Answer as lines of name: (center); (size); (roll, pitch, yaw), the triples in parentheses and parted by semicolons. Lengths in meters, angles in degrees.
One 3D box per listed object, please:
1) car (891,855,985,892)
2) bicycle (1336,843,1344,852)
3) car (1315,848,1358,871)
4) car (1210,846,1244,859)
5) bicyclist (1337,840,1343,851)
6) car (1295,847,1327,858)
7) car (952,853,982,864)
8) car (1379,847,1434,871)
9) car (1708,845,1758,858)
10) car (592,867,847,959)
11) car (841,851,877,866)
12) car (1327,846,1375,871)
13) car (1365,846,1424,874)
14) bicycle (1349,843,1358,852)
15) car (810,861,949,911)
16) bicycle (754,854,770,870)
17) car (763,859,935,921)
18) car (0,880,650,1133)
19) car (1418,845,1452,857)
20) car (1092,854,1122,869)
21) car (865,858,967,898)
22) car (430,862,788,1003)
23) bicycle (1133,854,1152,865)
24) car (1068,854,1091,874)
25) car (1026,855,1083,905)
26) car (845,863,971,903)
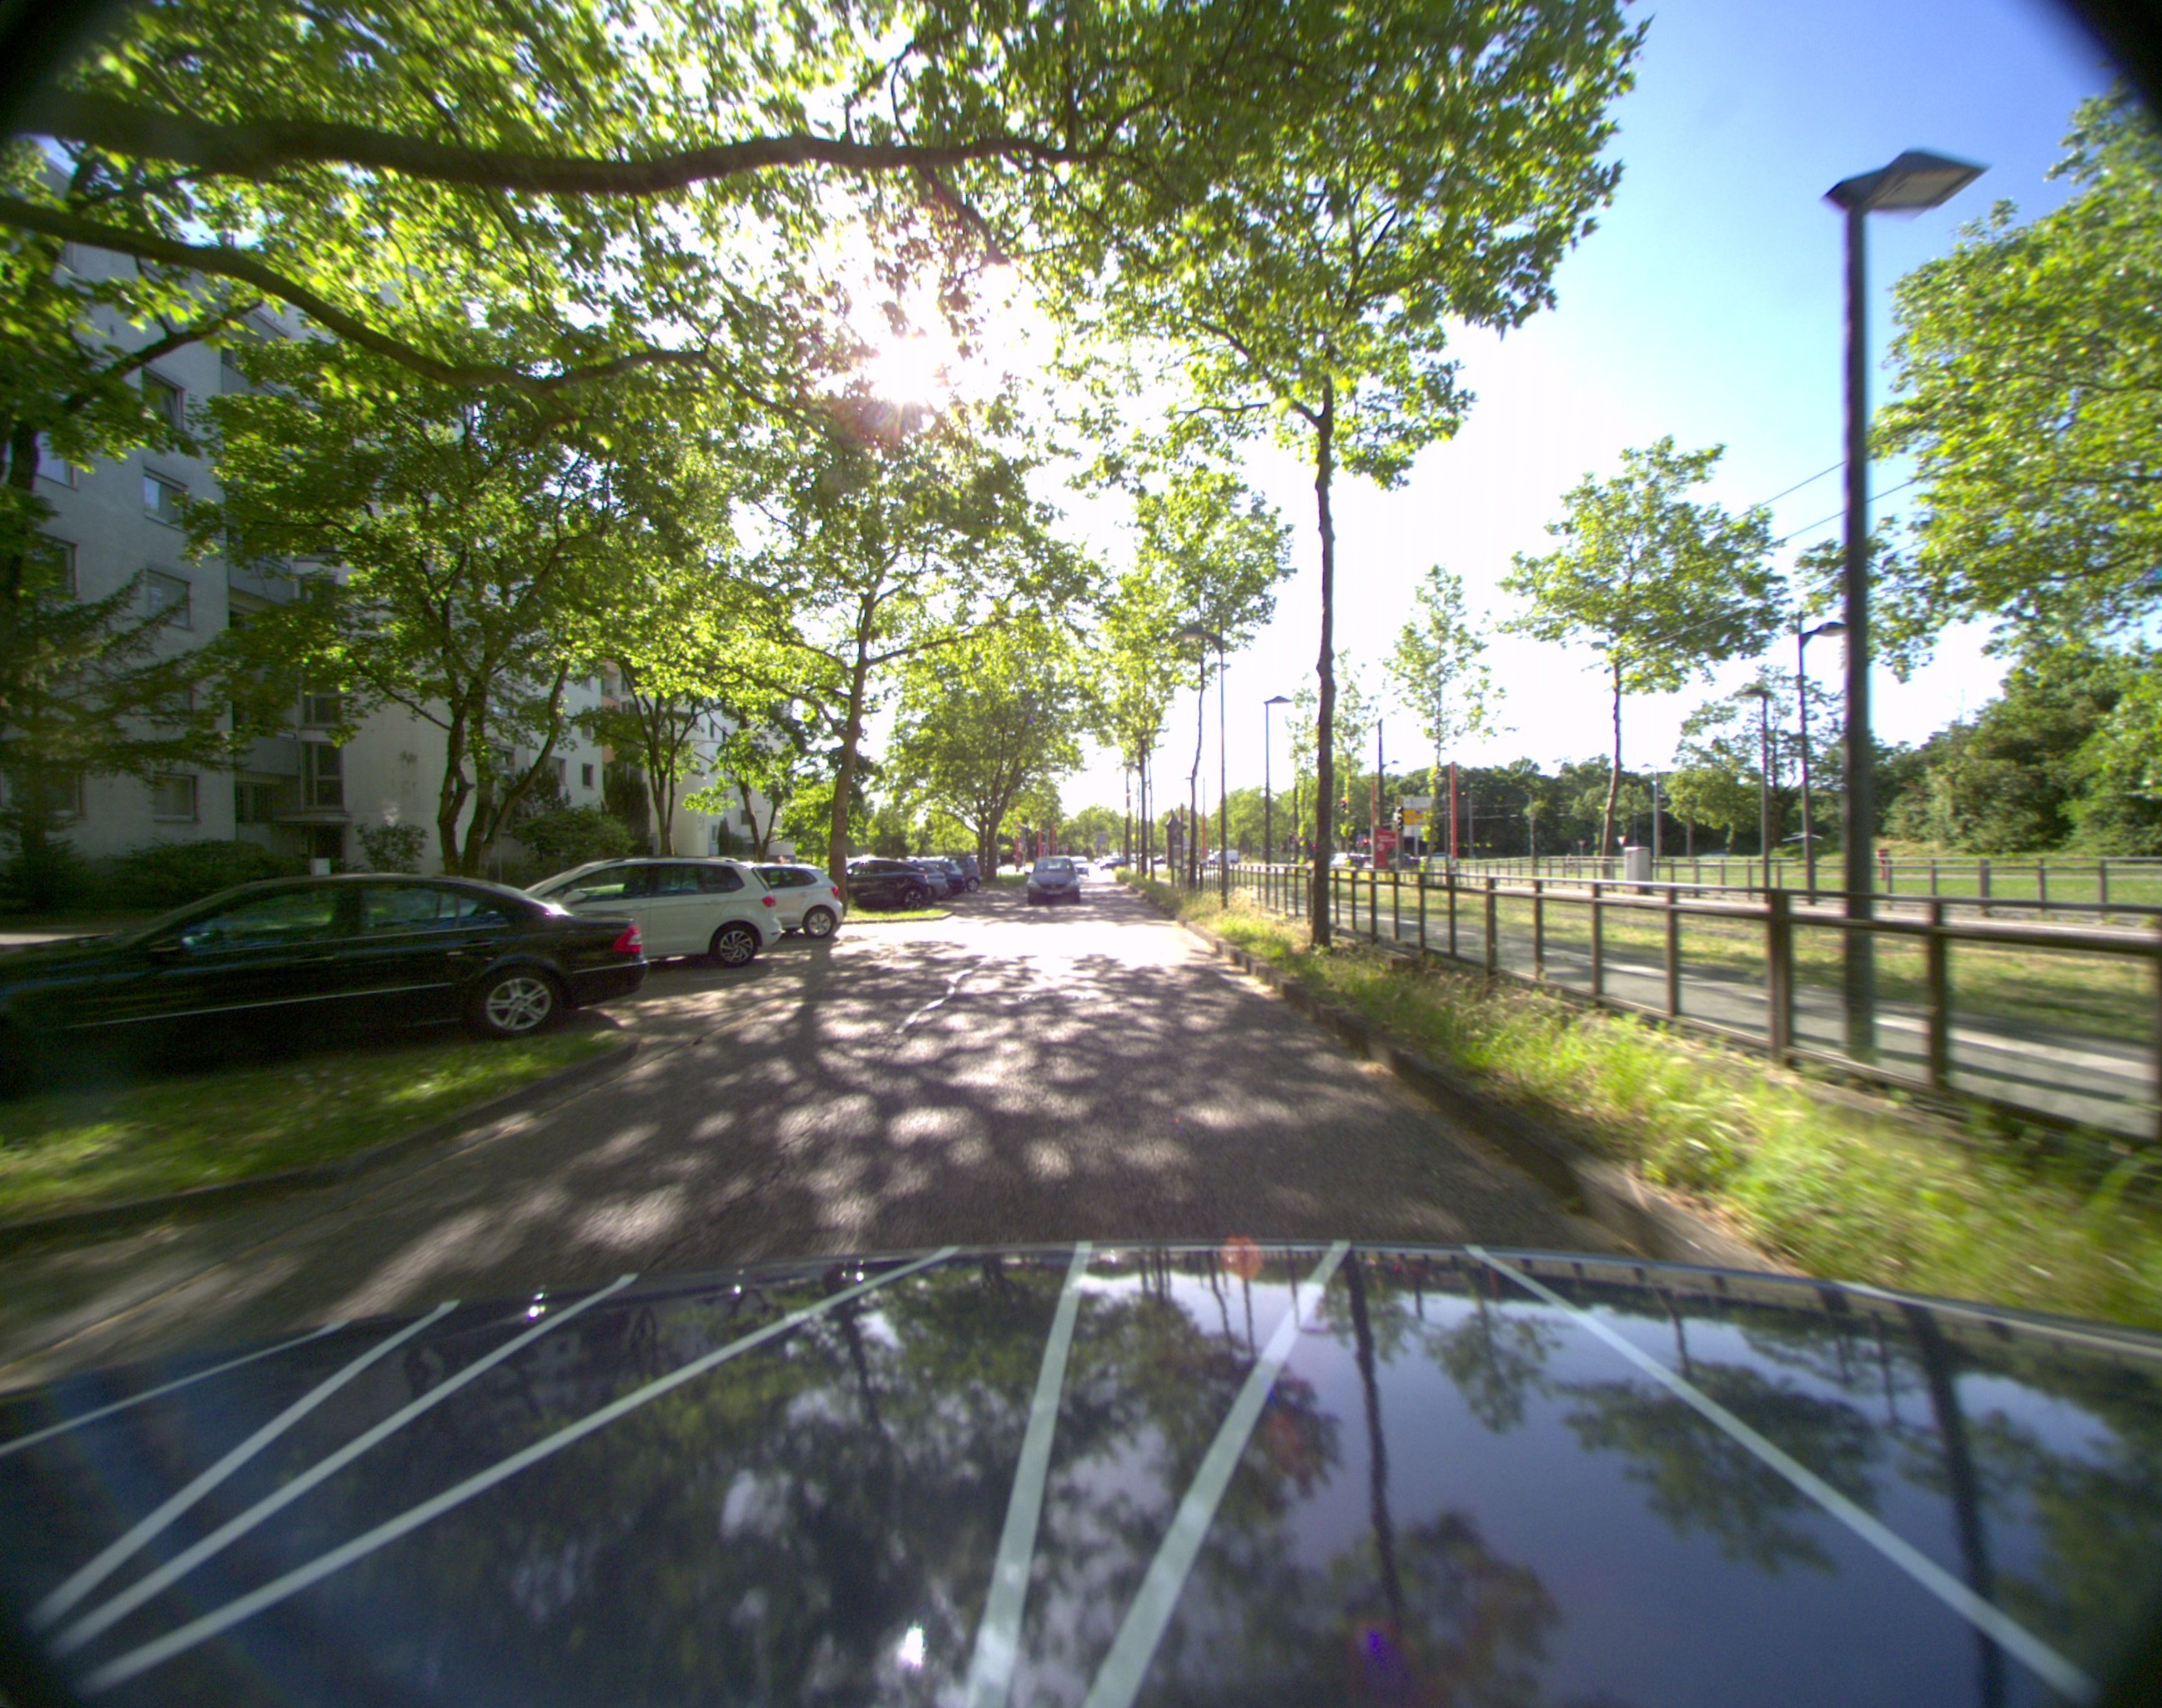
car: (-6.403, 0.839, 34.228); (3.734, 1.583, 1.795); (0, 0, -41)
bicycle: (32.912, -0.817, 96.509); (0.500, 1.101, 1.800); (-1, 1, 3)
car: (18.951, 0.419, 56.561); (1.799, 1.607, 4.233); (-1, 0, 1)
car: (21.618, -0.261, 112.421); (4.545, 1.825, 1.803); (0, 0, 26)
bicyclist: (32.908, -1.064, 96.503); (0.500, 1.439, 0.778); (-1, 1, 3)
car: (31.546, -0.153, 104.115); (3.989, 1.501, 1.803); (0, 0, 27)
car: (-16.698, 0.615, 111.360); (3.989, 1.502, 1.803); (-1, 2, 28)
car: (21.268, 0.301, 49.794); (1.799, 1.501, 4.267); (-1, 0, 1)
car: (73.167, -0.280, 85.341); (3.990, 1.501, 1.803); (0, 0, 26)
car: (-6.723, 0.989, 14.351); (4.008, 1.436, 1.795); (0, 0, -41)
car: (-33.458, 0.659, 114.302); (5.180, 2.075, 2.096); (-1, 2, 28)
car: (18.171, 0.280, 51.358); (1.799, 1.607, 4.233); (-1, 0, 1)
car: (18.410, 0.324, 44.828); (1.799, 1.598, 4.267); (-1, 0, 1)
bicycle: (34.631, -0.845, 96.432); (0.562, 1.101, 1.800); (-1, 1, 3)
car: (-6.348, 0.957, 24.217); (3.896, 1.437, 1.795); (0, 0, -43)
bicycle: (-23.062, 0.583, 54.939); (0.500, 1.101, 1.799); (4, 0, -6)
car: (-6.296, 0.913, 20.933); (1.795, 1.501, 4.186); (1, 0, 44)
car: (-6.313, 0.995, 6.153); (4.600, 1.414, 1.795); (0, 0, -45)
car: (46.271, -0.358, 99.245); (3.990, 1.501, 1.803); (0, 0, 26)
car: (2.890, 0.818, 84.521); (1.786, 1.501, 4.633); (-1, 0, 22)
car: (-6.658, 0.929, 30.819); (3.591, 1.483, 1.795); (0, 0, -41)
car: (-6.444, 0.920, 10.626); (4.008, 1.566, 1.795); (0, 0, -40)
bicycle: (6.676, 0.589, 82.716); (1.896, 1.101, 0.704); (-1, 1, 24)
car: (-0.142, 0.802, 63.005); (1.799, 1.530, 3.999); (-2, 0, -1)
car: (-0.858, 0.857, 26.832); (1.799, 1.580, 3.763); (-2, 0, 0)
car: (-6.287, 1.020, 27.849); (4.155, 1.310, 1.795); (0, 0, -40)
